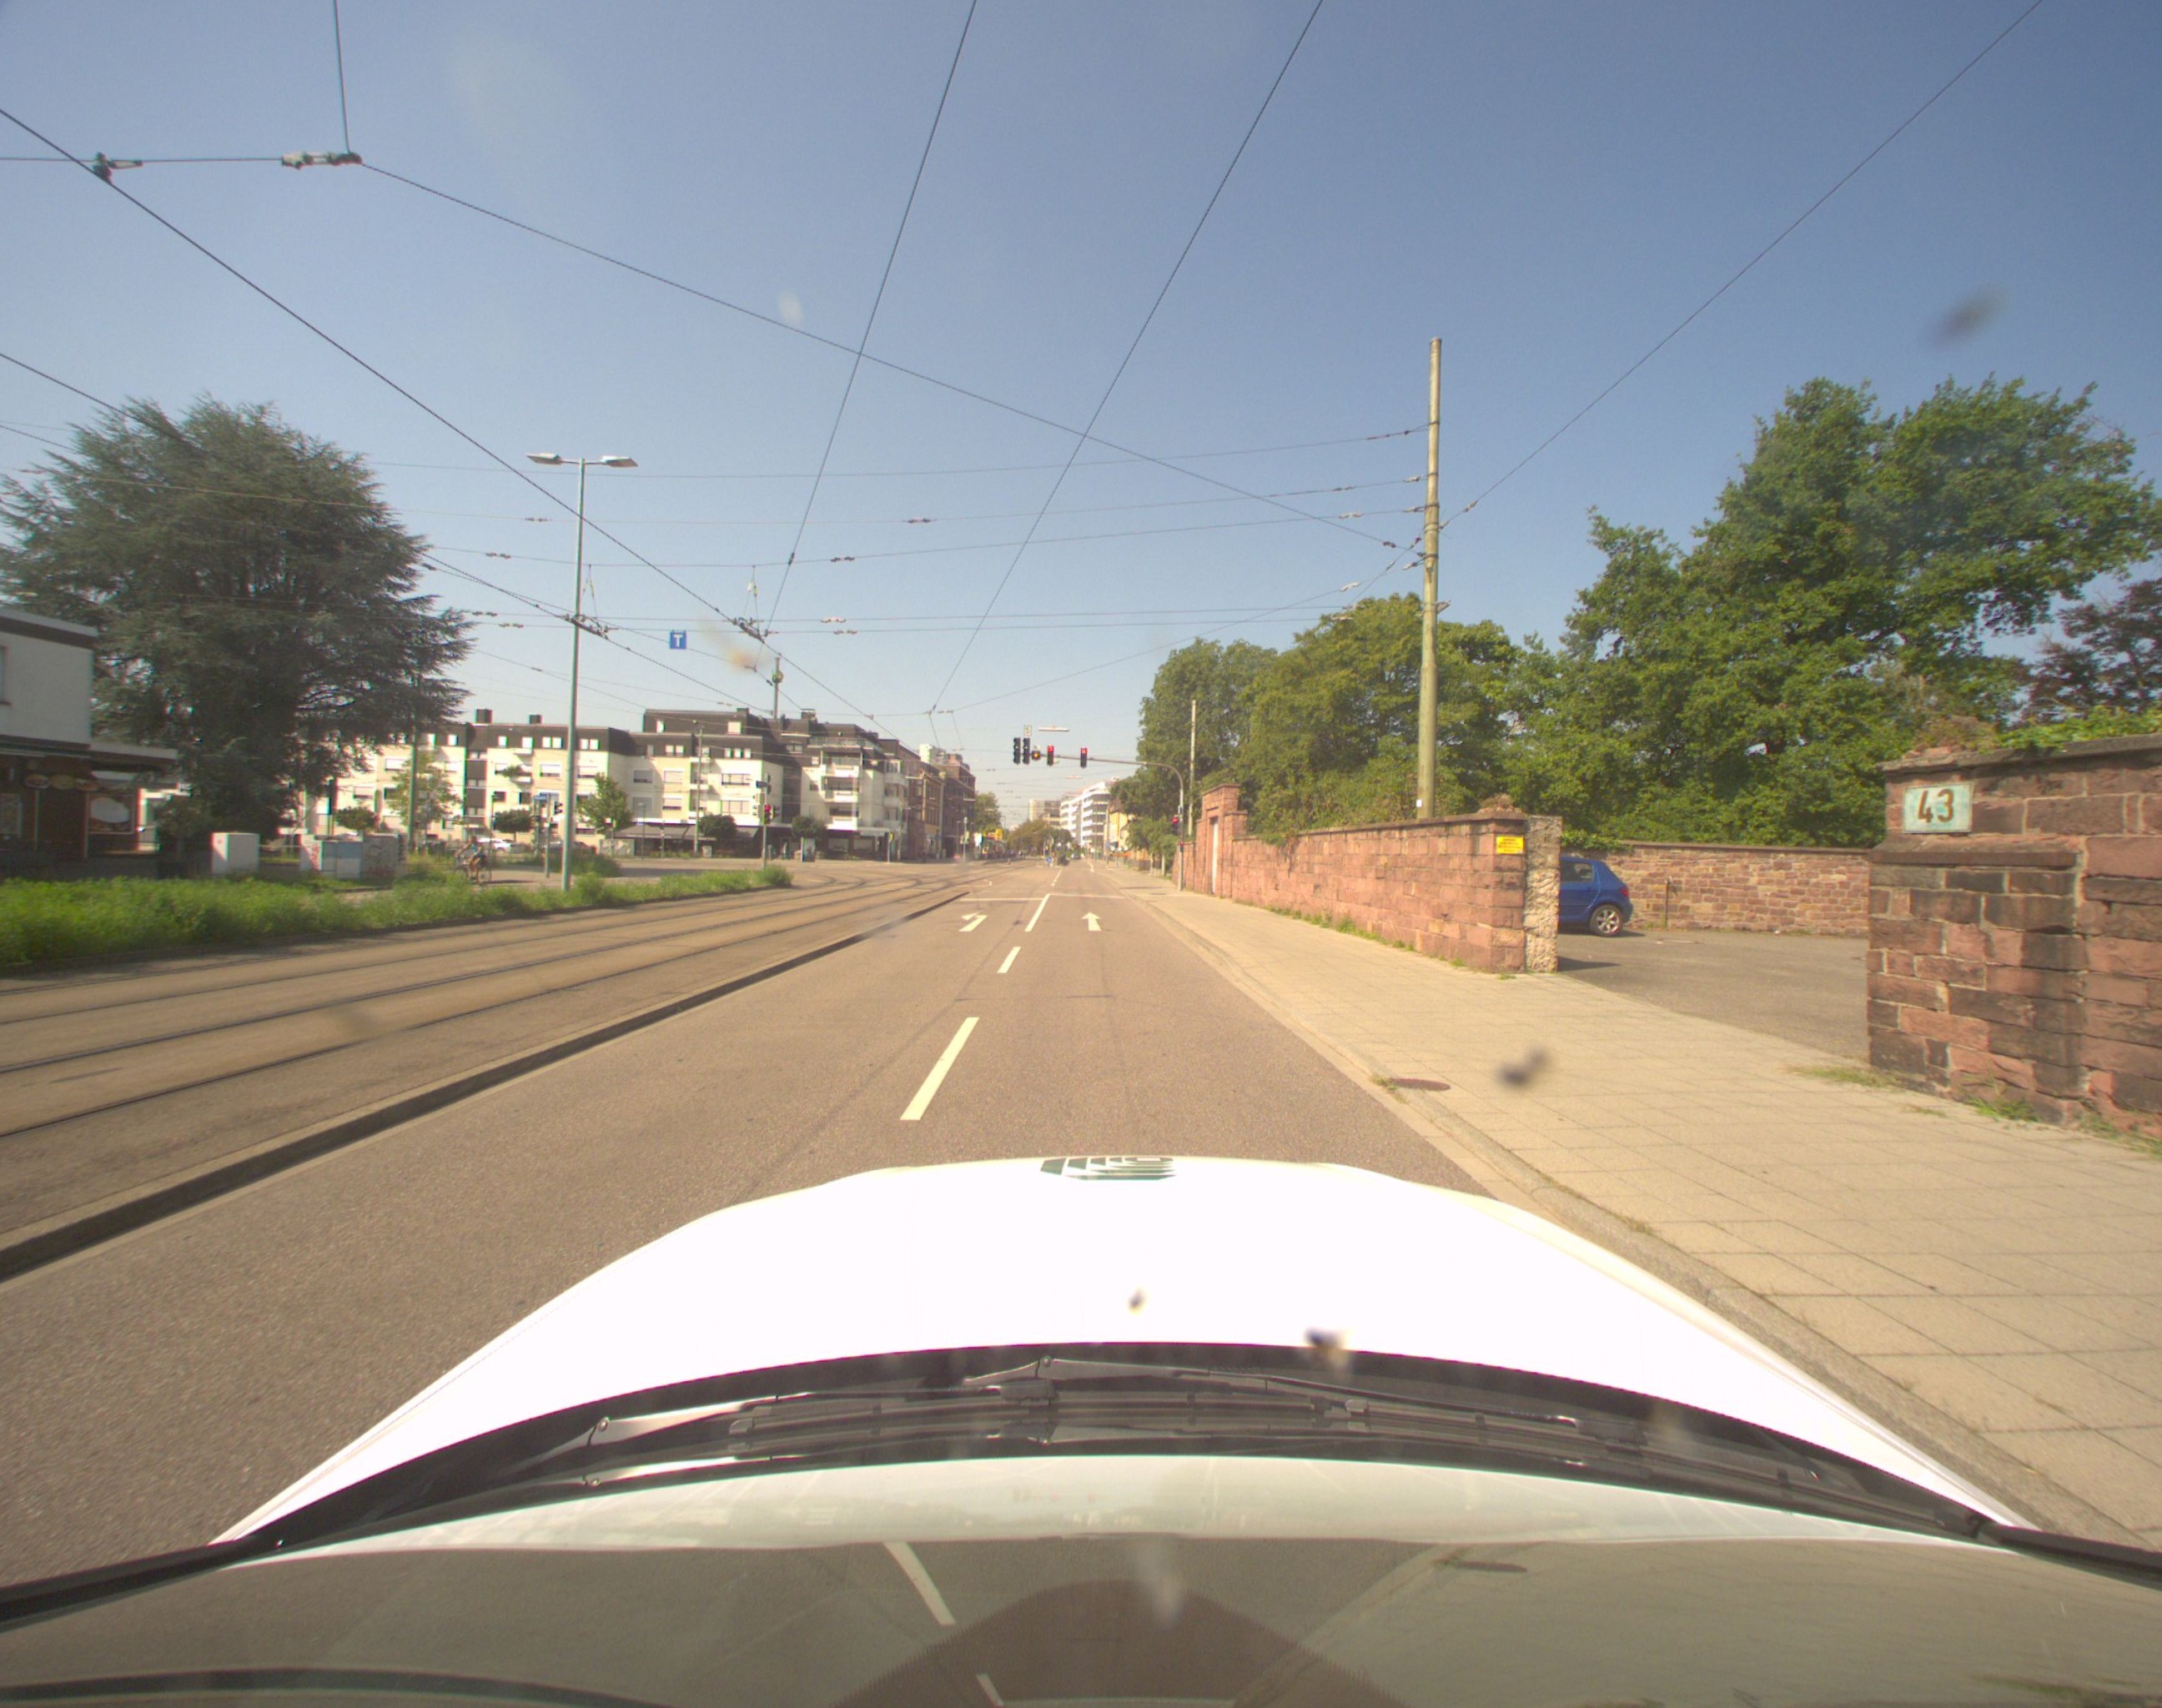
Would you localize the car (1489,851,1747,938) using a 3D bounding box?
[{"bbox_3d":[10.515,0.756,16.151,3.956,1.464,1.776,2,0,-2],"label":"car"}]

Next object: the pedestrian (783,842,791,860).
[{"bbox_3d":[-28.995,-0.260,80.310,0.602,1.745,0.560,0,-1,-34],"label":"pedestrian"}]

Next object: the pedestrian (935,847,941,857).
[{"bbox_3d":[-21.675,-0.322,123.618,0.480,1.560,0.889,3,-1,11],"label":"pedestrian"}]

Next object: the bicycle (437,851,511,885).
[{"bbox_3d":[-20.287,0.449,27.277,0.712,1.091,2.266,0,0,1],"label":"bicycle"}]

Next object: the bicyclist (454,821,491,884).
[{"bbox_3d":[-20.296,-0.039,27.162,0.635,2.064,0.775,0,-1,1],"label":"bicyclist"}]

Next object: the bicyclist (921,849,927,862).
[{"bbox_3d":[-18.371,0.160,95.256,0.566,1.523,0.490,0,-1,1],"label":"bicyclist"}]

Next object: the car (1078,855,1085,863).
[{"bbox_3d":[0.142,1.301,211.425,2.004,1.859,4.000,0,0,1],"label":"car"}]

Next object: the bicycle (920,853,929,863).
[{"bbox_3d":[-18.356,0.504,95.505,0.573,1.179,2.209,0,0,2],"label":"bicycle"}]

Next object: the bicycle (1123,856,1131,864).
[{"bbox_3d":[6.862,0.920,122.029,0.730,1.132,2.832,-2,0,-8],"label":"bicycle"}]

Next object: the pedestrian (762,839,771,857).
[{"bbox_3d":[-32.145,-0.607,83.215,0.677,1.741,0.698,0,-1,0],"label":"pedestrian"}]

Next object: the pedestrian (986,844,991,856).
[{"bbox_3d":[-13.641,-0.603,119.913,0.705,1.723,0.799,0,-1,0],"label":"pedestrian"}]

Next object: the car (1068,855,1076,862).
[{"bbox_3d":[-2.346,1.209,217.434,2.004,1.859,4.000,0,0,1],"label":"car"}]

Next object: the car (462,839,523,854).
[{"bbox_3d":[-51.835,-0.689,71.789,4.097,1.299,1.672,0,0,-2],"label":"car"}]
